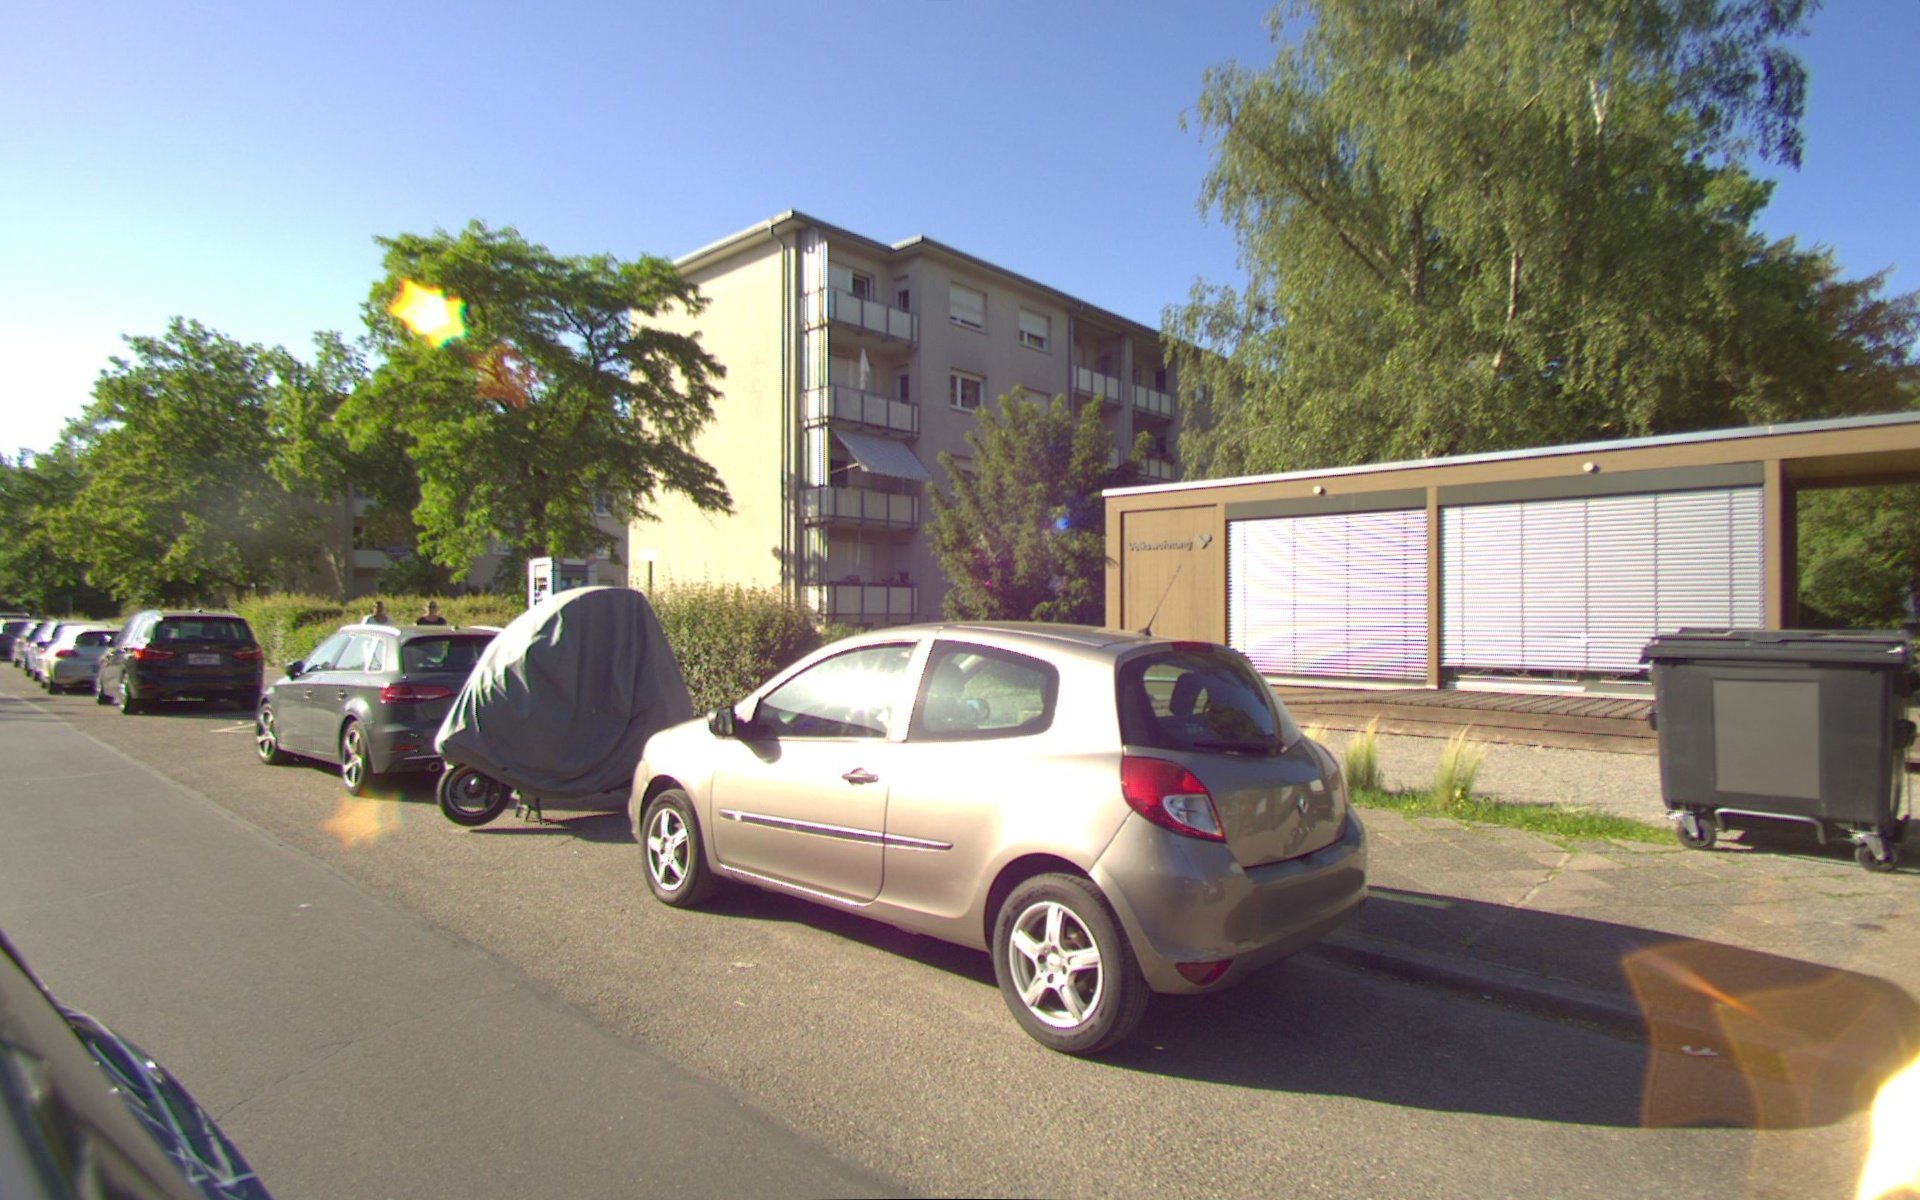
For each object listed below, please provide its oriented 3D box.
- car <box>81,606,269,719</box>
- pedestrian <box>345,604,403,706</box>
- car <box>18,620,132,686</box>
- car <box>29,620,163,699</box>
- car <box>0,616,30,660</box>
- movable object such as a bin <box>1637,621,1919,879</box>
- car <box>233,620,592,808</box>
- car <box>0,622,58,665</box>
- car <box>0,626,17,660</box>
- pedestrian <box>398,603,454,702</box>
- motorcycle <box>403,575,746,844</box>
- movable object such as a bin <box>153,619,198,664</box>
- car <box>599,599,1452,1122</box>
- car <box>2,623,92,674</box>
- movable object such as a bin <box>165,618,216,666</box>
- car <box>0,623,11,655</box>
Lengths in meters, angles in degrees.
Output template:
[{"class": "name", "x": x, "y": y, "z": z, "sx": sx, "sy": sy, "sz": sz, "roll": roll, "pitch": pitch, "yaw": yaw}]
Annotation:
[{"class": "car", "x": -13.225, "y": 0.983, "z": 16.952, "sx": 4.370, "sy": 1.648, "sz": 1.735, "roll": -1, "pitch": -3, "yaw": 43}, {"class": "pedestrian", "x": -9.969, "y": 0.912, "z": 17.221, "sx": 0.616, "sy": 1.692, "sz": 0.713, "roll": -1, "pitch": -1, "yaw": 42}, {"class": "car", "x": -22.479, "y": 1.330, "z": 25.640, "sx": 4.902, "sy": 1.501, "sz": 1.734, "roll": -2, "pitch": -5, "yaw": 44}, {"class": "car", "x": -18.188, "y": 1.194, "z": 21.235, "sx": 4.212, "sy": 1.436, "sz": 1.734, "roll": 0, "pitch": -3, "yaw": 45}, {"class": "car", "x": -37.774, "y": 1.462, "z": 39.462, "sx": 4.389, "sy": 1.681, "sz": 1.735, "roll": -1, "pitch": -3, "yaw": 42}, {"class": "movable object such as a bin", "x": 4.914, "y": 0.787, "z": 5.974, "sx": 1.343, "sy": 1.297, "sz": 1.164, "roll": -1, "pitch": -1, "yaw": 43}, {"class": "car", "x": -5.454, "y": 0.936, "z": 9.832, "sx": 4.268, "sy": 1.432, "sz": 1.735, "roll": -1, "pitch": -3, "yaw": 43}, {"class": "car", "x": -33.438, "y": 1.497, "z": 35.793, "sx": 4.673, "sy": 1.396, "sz": 1.735, "roll": 0, "pitch": -2, "yaw": 42}, {"class": "car", "x": -41.760, "y": 1.817, "z": 43.210, "sx": 4.166, "sy": 1.396, "sz": 1.622, "roll": -1, "pitch": -3, "yaw": 39}, {"class": "pedestrian", "x": -9.394, "y": 0.908, "z": 17.793, "sx": 0.600, "sy": 1.692, "sz": 0.713, "roll": -1, "pitch": -1, "yaw": 42}, {"class": "motorcycle", "x": -2.842, "y": 0.767, "z": 7.727, "sx": 0.931, "sy": 1.740, "sz": 2.233, "roll": -1, "pitch": -4, "yaw": 39}, {"class": "movable object such as a bin", "x": -26.459, "y": 1.377, "z": 34.127, "sx": 1.326, "sy": 1.425, "sz": 0.885, "roll": -1, "pitch": 2, "yaw": 41}, {"class": "car", "x": 0.013, "y": 0.812, "z": 4.928, "sx": 3.960, "sy": 1.492, "sz": 1.734, "roll": -1, "pitch": -3, "yaw": 44}, {"class": "car", "x": -27.749, "y": 1.436, "z": 30.729, "sx": 3.494, "sy": 1.475, "sz": 1.631, "roll": -1, "pitch": -3, "yaw": 42}, {"class": "movable object such as a bin", "x": -24.592, "y": 1.326, "z": 32.340, "sx": 1.326, "sy": 1.425, "sz": 0.991, "roll": -1, "pitch": 2, "yaw": 41}, {"class": "car", "x": -45.904, "y": 1.799, "z": 47.384, "sx": 4.149, "sy": 1.448, "sz": 1.735, "roll": -1, "pitch": -3, "yaw": 42}]
